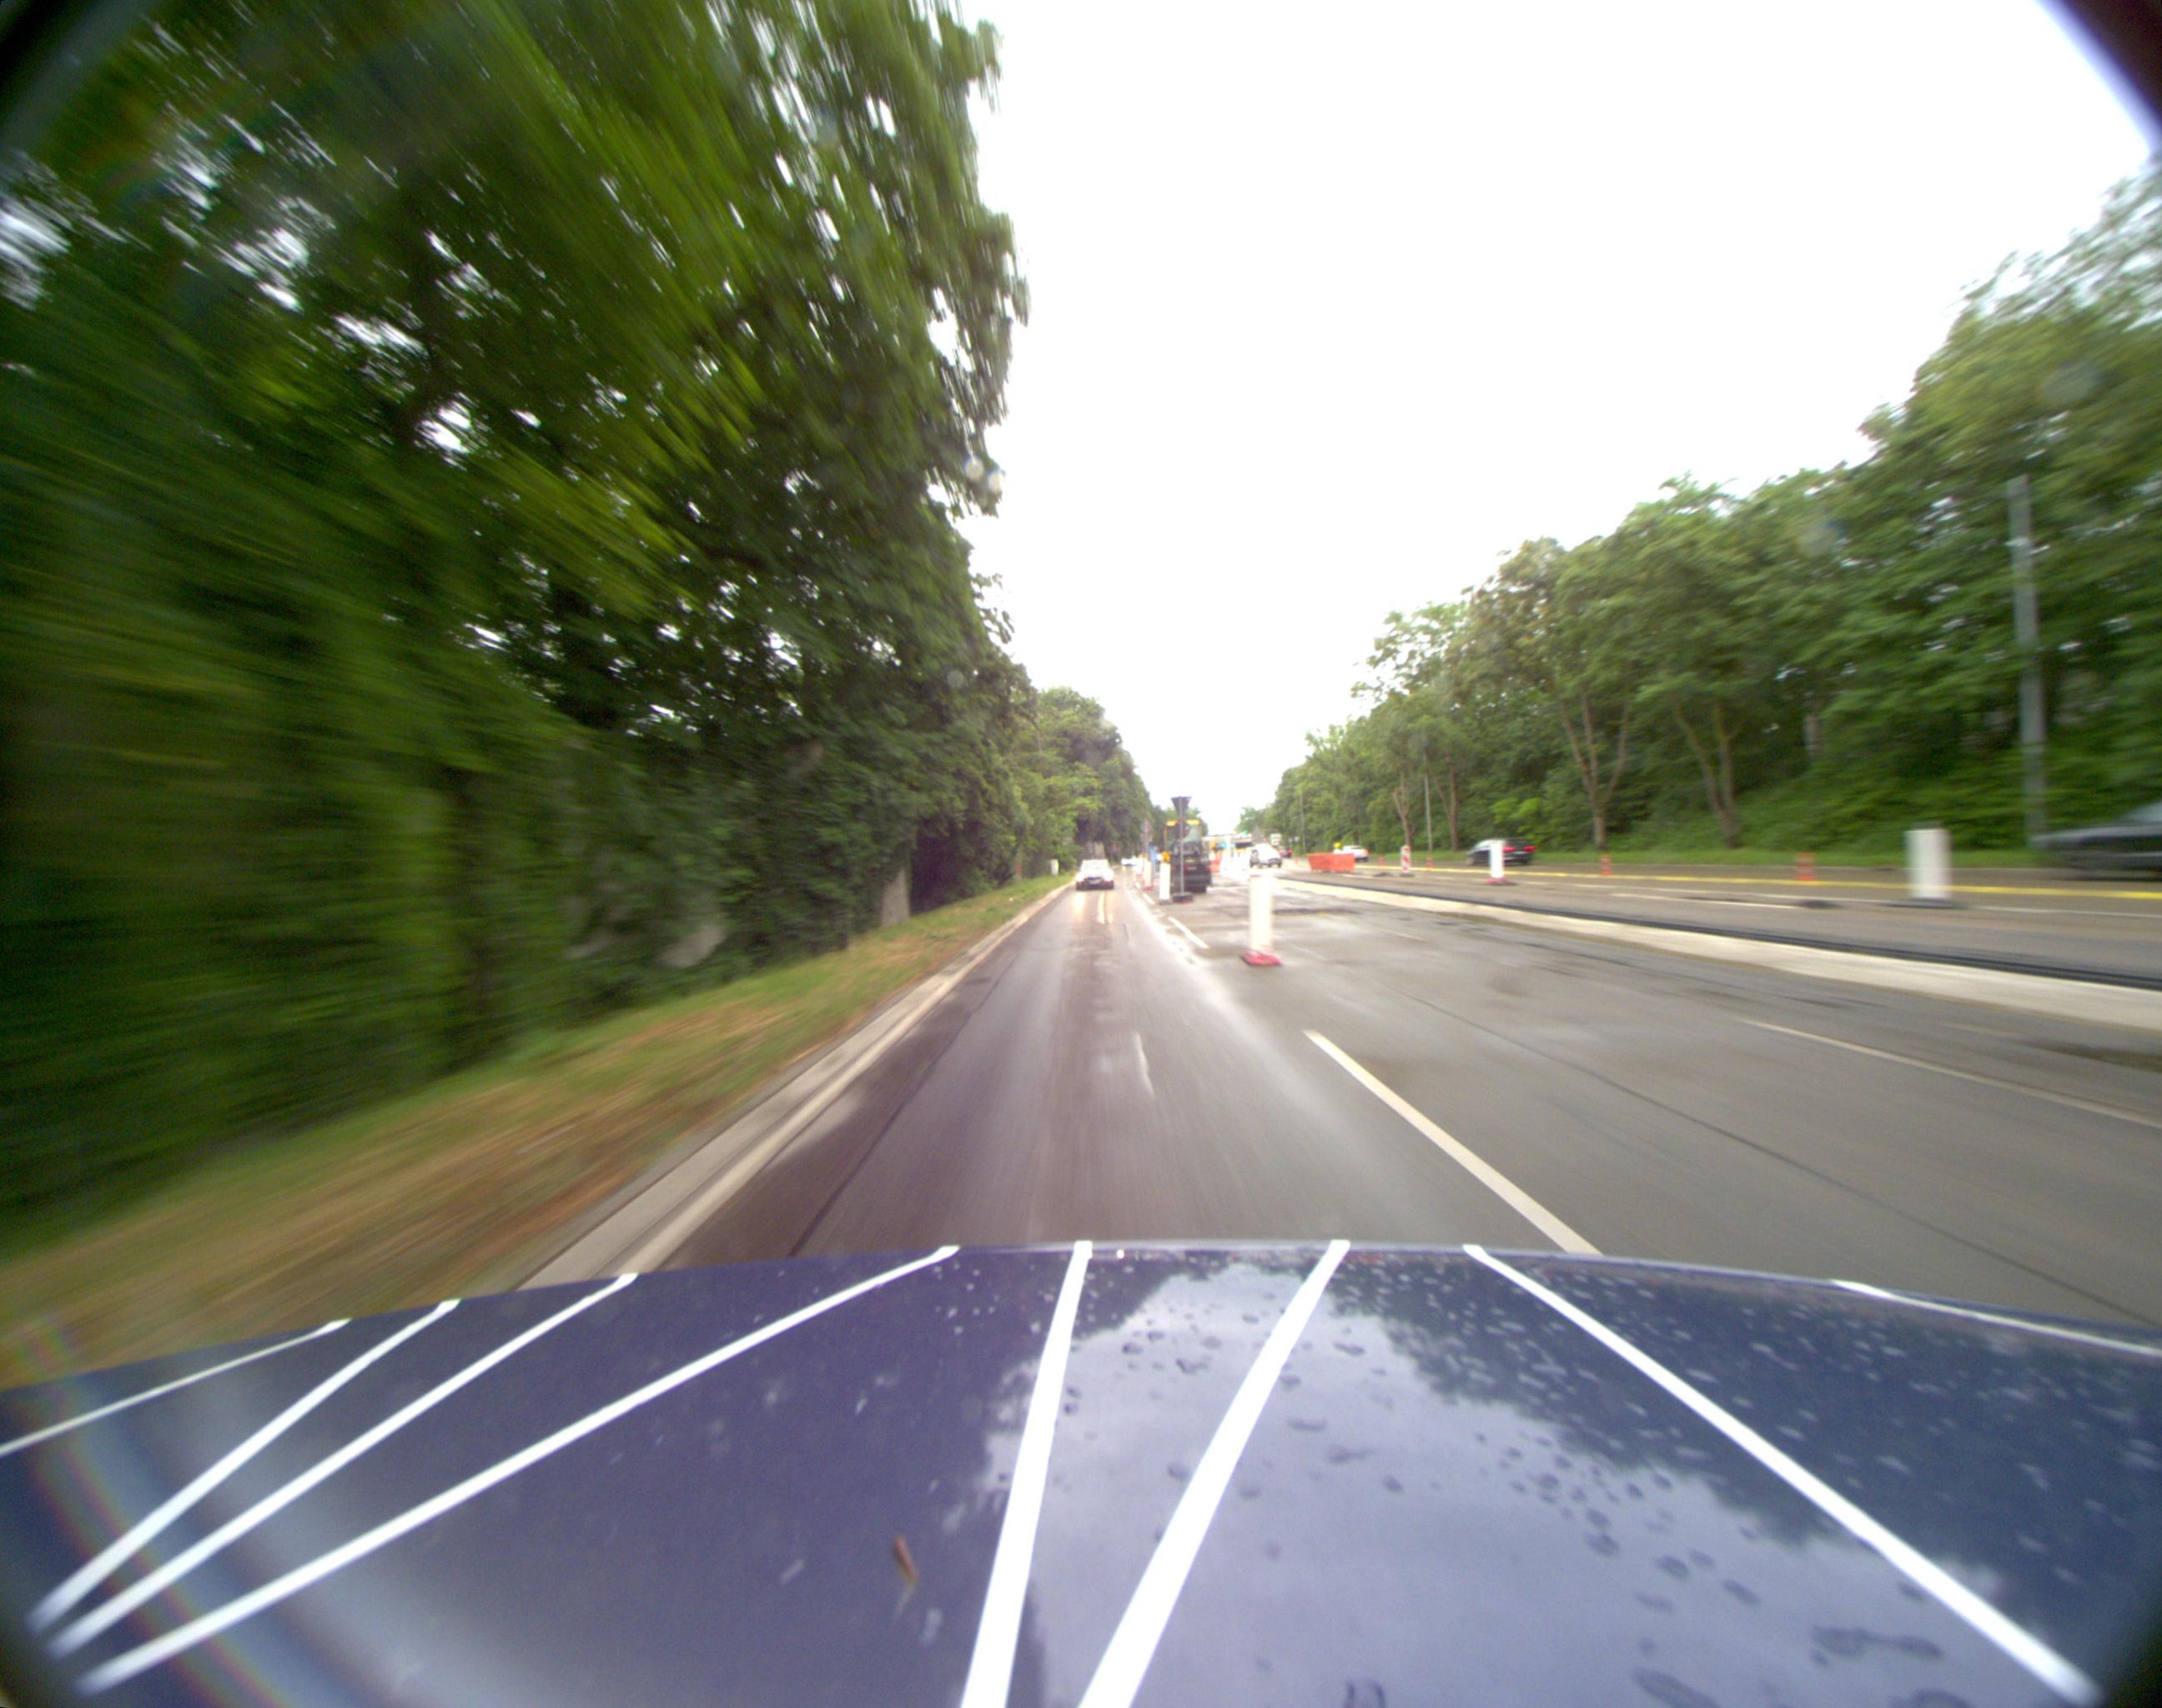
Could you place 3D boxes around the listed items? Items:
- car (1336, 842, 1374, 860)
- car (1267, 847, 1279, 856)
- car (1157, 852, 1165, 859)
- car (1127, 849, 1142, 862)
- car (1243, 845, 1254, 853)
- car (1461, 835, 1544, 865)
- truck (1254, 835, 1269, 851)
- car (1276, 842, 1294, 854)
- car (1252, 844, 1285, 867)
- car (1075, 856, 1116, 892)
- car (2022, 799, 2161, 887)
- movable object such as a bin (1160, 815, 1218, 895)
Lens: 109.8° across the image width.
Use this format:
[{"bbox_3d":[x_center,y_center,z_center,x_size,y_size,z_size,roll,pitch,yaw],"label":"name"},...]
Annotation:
[{"bbox_3d":[23.822,-0.237,66.323,1.788,1.418,4.469,-3,0,2],"label":"car"},{"bbox_3d":[33.394,-0.487,132.111,1.624,1.475,3.609,-2,0,8],"label":"car"},{"bbox_3d":[18.390,0.352,174.988,1.710,1.434,4.233,-2,1,9],"label":"car"},{"bbox_3d":[7.730,0.232,110.074,1.706,1.681,4.474,-2,1,9],"label":"car"},{"bbox_3d":[32.497,-0.986,147.259,1.678,1.604,3.771,-2,0,5],"label":"car"},{"bbox_3d":[22.382,-0.200,40.573,1.788,1.444,4.681,-3,0,0],"label":"car"},{"bbox_3d":[47.164,-2.946,198.581,3.149,3.809,9.651,-2,1,10],"label":"truck"},{"bbox_3d":[29.938,-0.882,111.678,1.678,1.604,4.769,-2,0,5],"label":"car"},{"bbox_3d":[14.814,0.100,60.131,1.793,1.575,3.862,-4,0,4],"label":"car"},{"bbox_3d":[0.742,0.880,35.960,1.701,1.477,4.000,-2,1,4],"label":"car"},{"bbox_3d":[21.098,-0.235,13.825,1.781,1.654,4.914,-2,0,-1],"label":"car"},{"bbox_3d":[4.387,0.020,31.582,1.808,2.968,5.246,-3,0,3],"label":"movable object such as a bin"}]
